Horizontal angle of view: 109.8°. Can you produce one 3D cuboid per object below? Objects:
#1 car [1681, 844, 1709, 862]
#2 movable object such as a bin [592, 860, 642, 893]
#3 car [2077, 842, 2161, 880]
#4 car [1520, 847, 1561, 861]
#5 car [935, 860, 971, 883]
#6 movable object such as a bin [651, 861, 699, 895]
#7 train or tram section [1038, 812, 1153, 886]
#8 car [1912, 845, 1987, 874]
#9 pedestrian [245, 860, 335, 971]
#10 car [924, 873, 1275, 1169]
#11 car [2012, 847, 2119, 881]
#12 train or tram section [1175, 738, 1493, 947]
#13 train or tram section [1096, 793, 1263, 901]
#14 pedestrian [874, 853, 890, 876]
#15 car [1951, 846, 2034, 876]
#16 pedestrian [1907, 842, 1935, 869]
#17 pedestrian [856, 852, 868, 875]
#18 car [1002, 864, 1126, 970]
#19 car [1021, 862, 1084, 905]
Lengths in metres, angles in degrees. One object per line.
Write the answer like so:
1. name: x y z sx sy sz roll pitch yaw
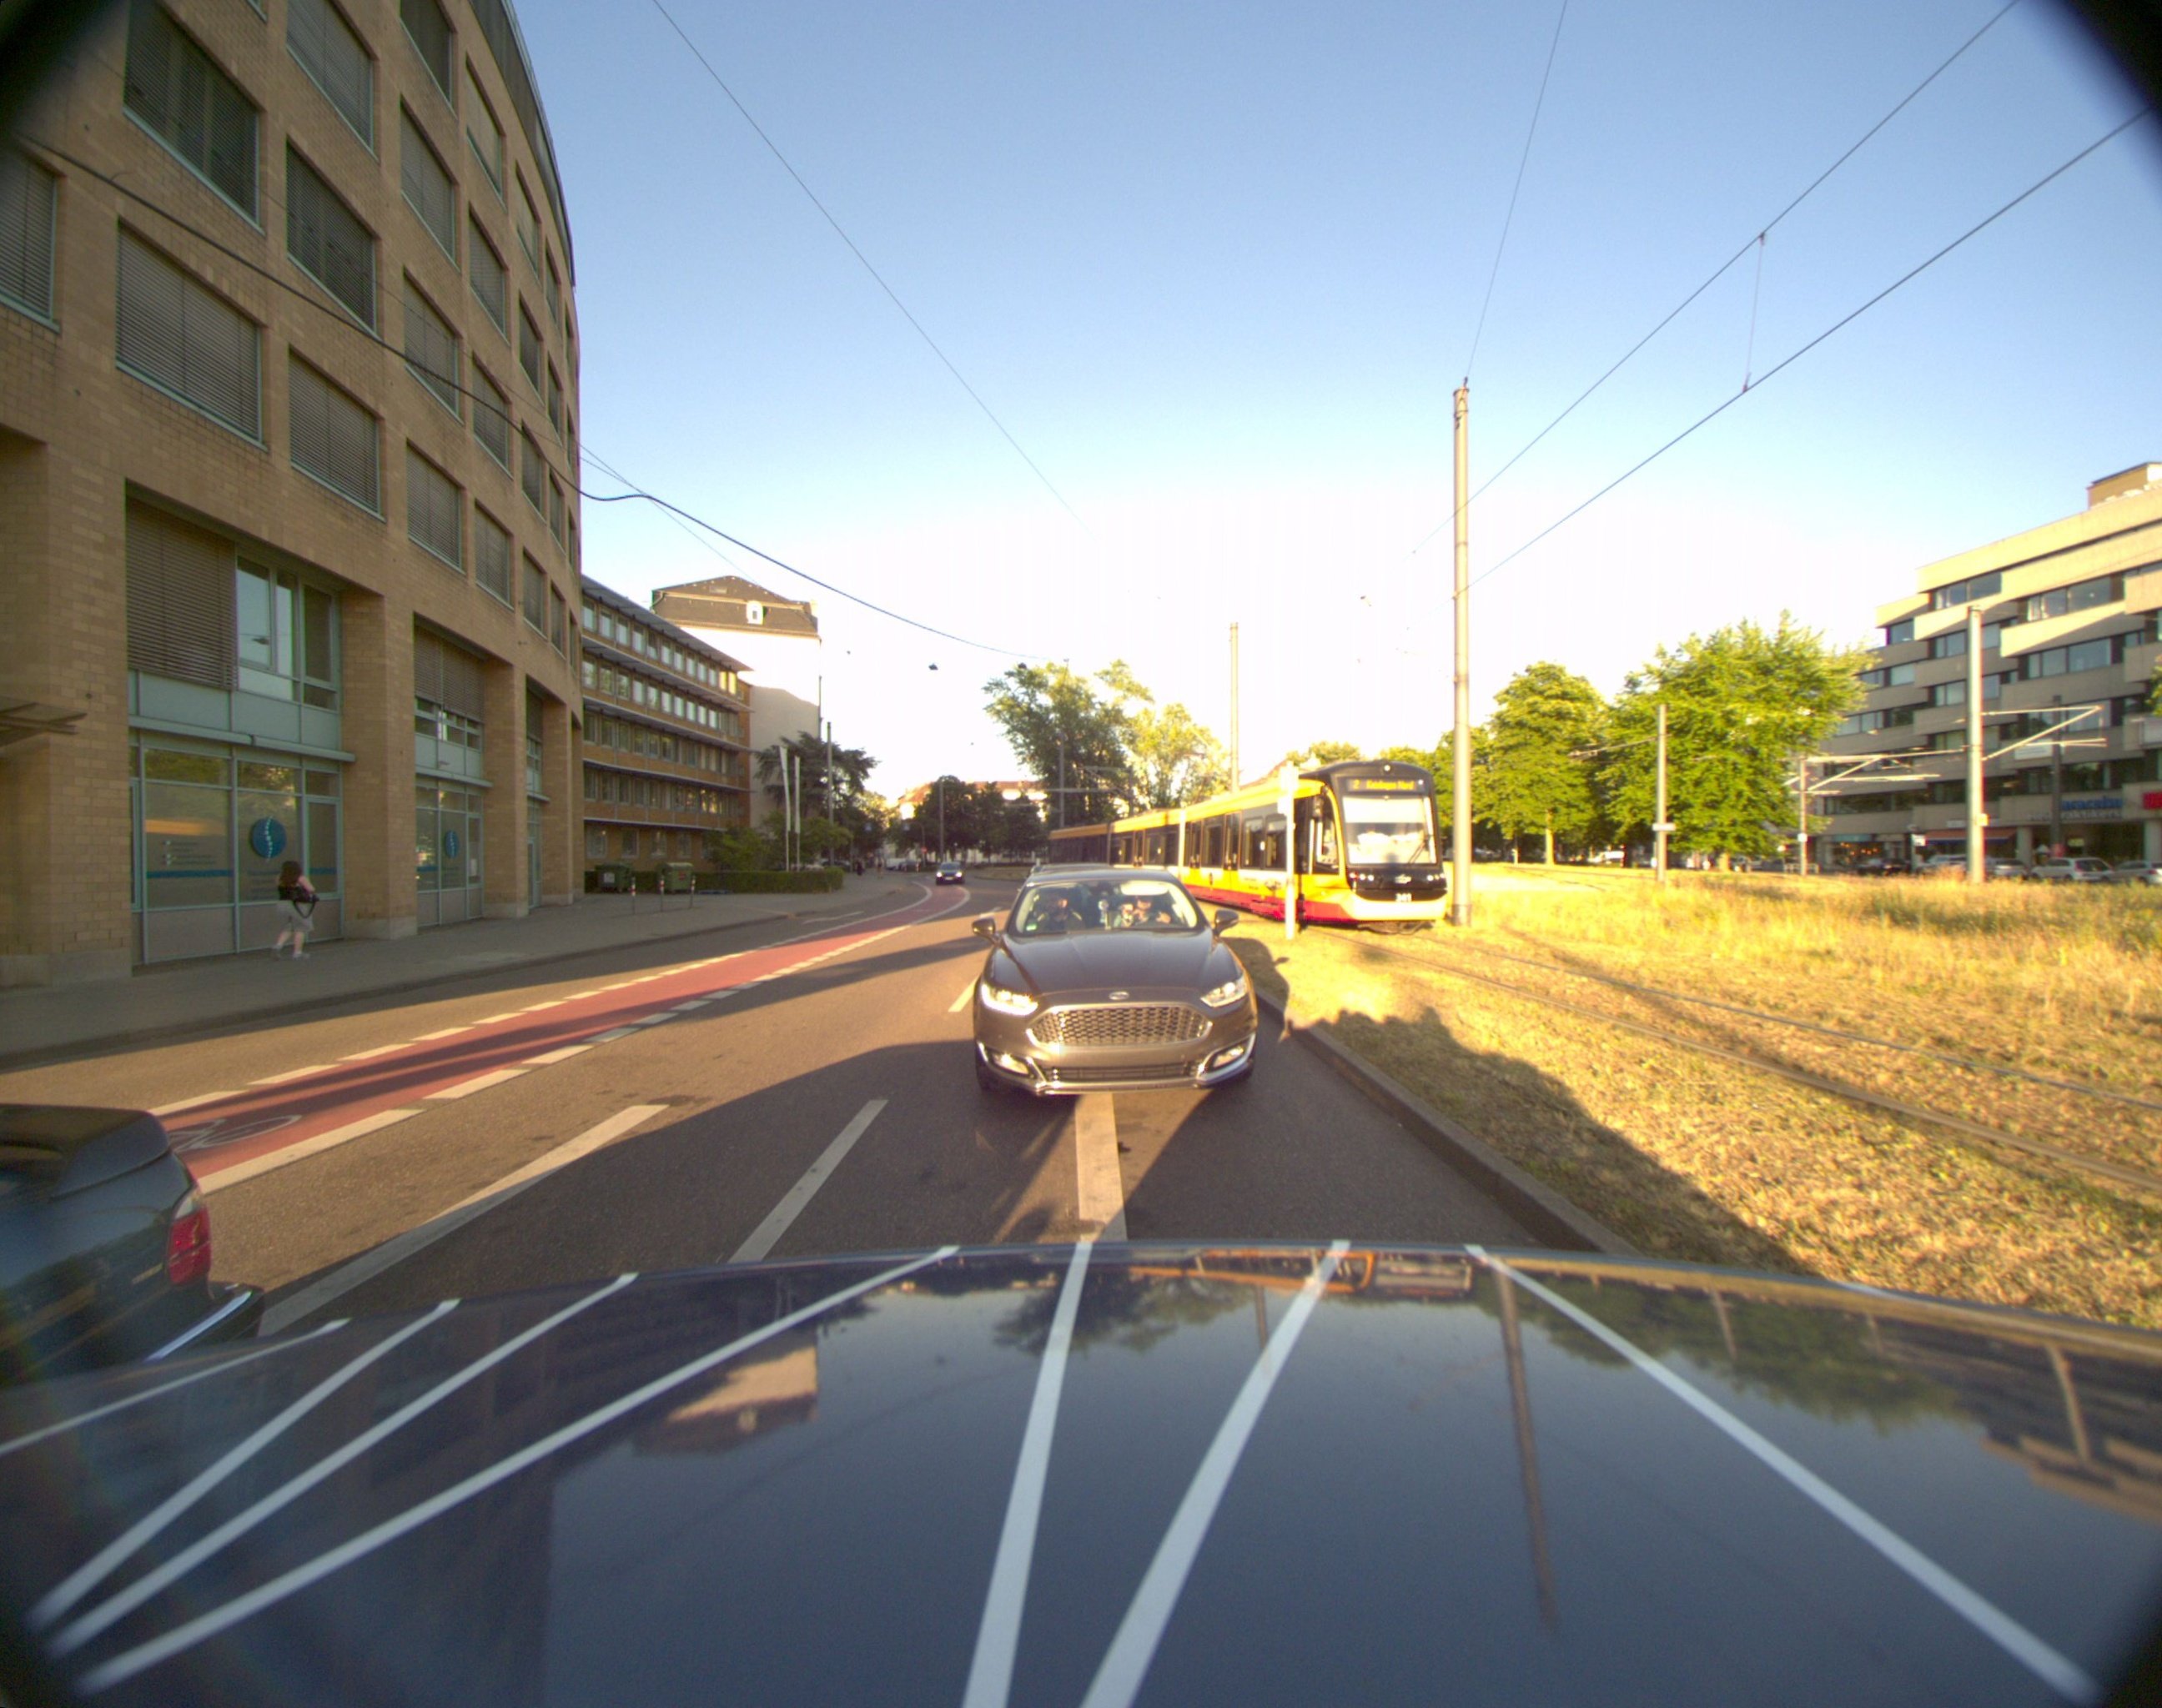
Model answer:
1. car: 72.035 -0.156 89.165 1.995 2.002 4.007 -2 1 32
2. movable object such as a bin: -21.186 1.029 34.741 1.427 1.450 1.332 -1 0 -2
3. car: 54.200 0.345 39.033 1.921 1.853 4.006 0 0 23
4. car: 57.600 -0.034 95.323 3.992 1.745 1.970 -1 0 16
5. car: -8.498 1.145 50.811 1.759 1.379 3.999 -2 0 -1
6. movable object such as a bin: -18.272 1.057 34.233 1.427 1.450 1.332 -1 0 -3
7. train or tram section: 0.450 -0.251 44.341 2.917 3.717 12.172 -1 0 -18
8. car: 61.333 0.376 53.767 1.995 1.925 4.007 -1 0 24
9. pedestrian: -12.344 0.931 11.880 0.628 1.672 0.713 -1 1 -3
10. car: 0.142 0.971 6.483 1.890 1.477 4.725 0 0 1
11. car: 56.315 0.553 43.583 1.995 1.868 4.006 -1 0 22
12. train or tram section: 5.393 -0.234 20.204 2.917 3.717 13.211 -1 0 -5
13. train or tram section: 3.573 -0.251 32.278 2.888 3.717 12.169 -1 0 -13
14. pedestrian: -16.154 0.857 61.673 0.913 1.883 1.124 -1 1 -29
15. car: 58.829 0.430 49.136 1.995 1.868 4.007 0 0 27
16. pedestrian: 64.110 0.102 58.029 1.138 2.023 0.892 -1 1 3
17. pedestrian: -17.730 0.783 61.481 0.728 1.797 0.724 -1 1 1
18. car: -0.213 1.001 13.999 1.897 1.526 4.705 -1 0 1
19. car: -1.169 1.085 29.533 2.000 1.453 4.140 -1 0 -8
